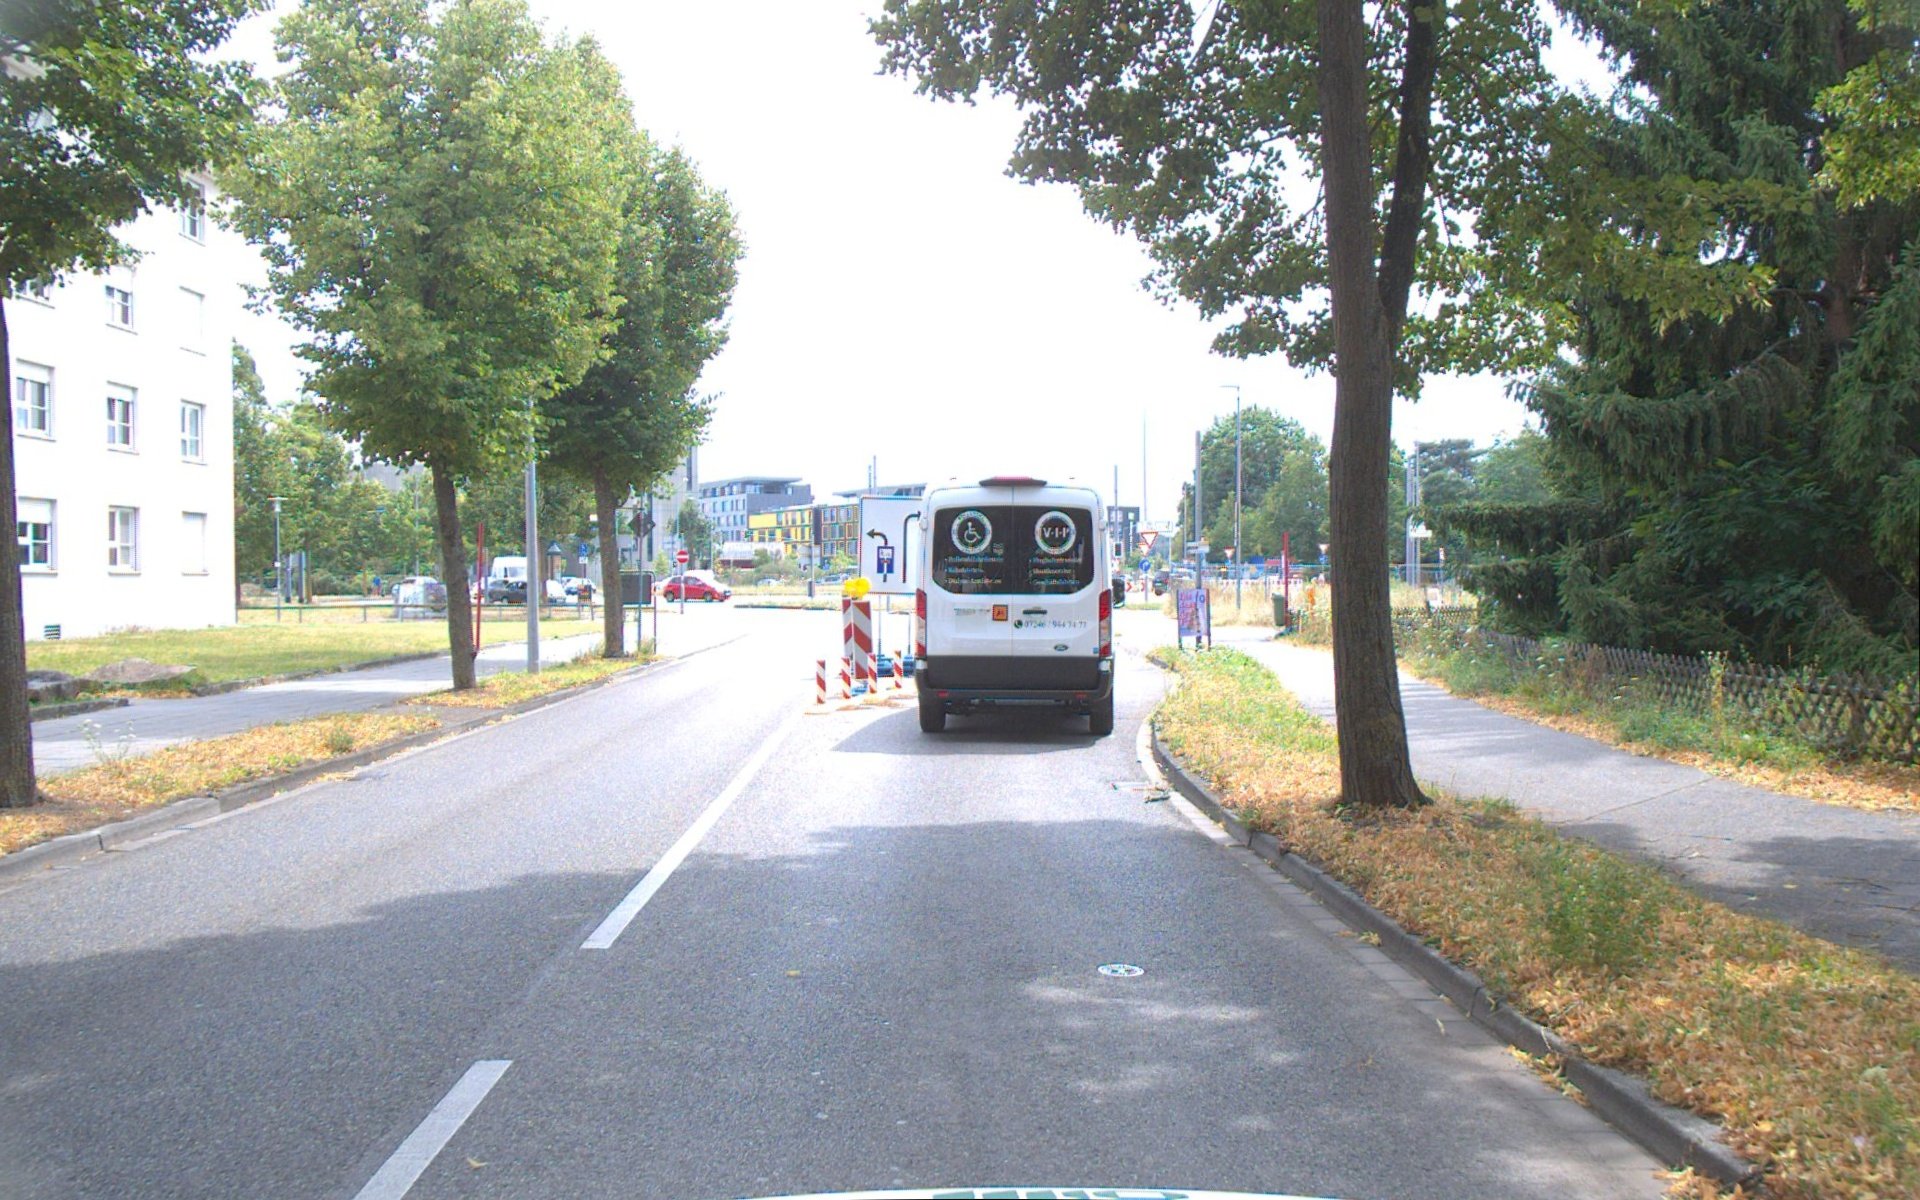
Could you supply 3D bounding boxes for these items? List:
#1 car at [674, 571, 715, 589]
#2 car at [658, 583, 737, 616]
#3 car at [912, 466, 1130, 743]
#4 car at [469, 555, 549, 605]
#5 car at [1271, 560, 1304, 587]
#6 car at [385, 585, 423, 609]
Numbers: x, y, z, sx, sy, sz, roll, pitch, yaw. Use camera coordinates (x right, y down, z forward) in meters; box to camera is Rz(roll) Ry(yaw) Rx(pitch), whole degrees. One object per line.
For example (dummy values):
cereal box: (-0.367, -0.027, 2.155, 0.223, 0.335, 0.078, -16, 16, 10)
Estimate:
car: (-28.164, -2.099, 175.328, 3.934, 1.691, 1.877, -3, 1, -23)
car: (-14.697, -0.048, 92.838, 3.902, 1.691, 1.893, -2, 1, 12)
car: (0.682, 0.015, 17.608, 2.019, 2.584, 4.002, 1, 1, 3)
car: (-27.940, -1.213, 102.315, 2.595, 2.900, 5.593, -3, 1, -40)
car: (23.925, -1.971, 120.725, 1.964, 1.848, 4.415, -2, 1, 17)
car: (-41.573, -0.191, 123.550, 1.866, 1.691, 3.958, -3, 1, -31)
